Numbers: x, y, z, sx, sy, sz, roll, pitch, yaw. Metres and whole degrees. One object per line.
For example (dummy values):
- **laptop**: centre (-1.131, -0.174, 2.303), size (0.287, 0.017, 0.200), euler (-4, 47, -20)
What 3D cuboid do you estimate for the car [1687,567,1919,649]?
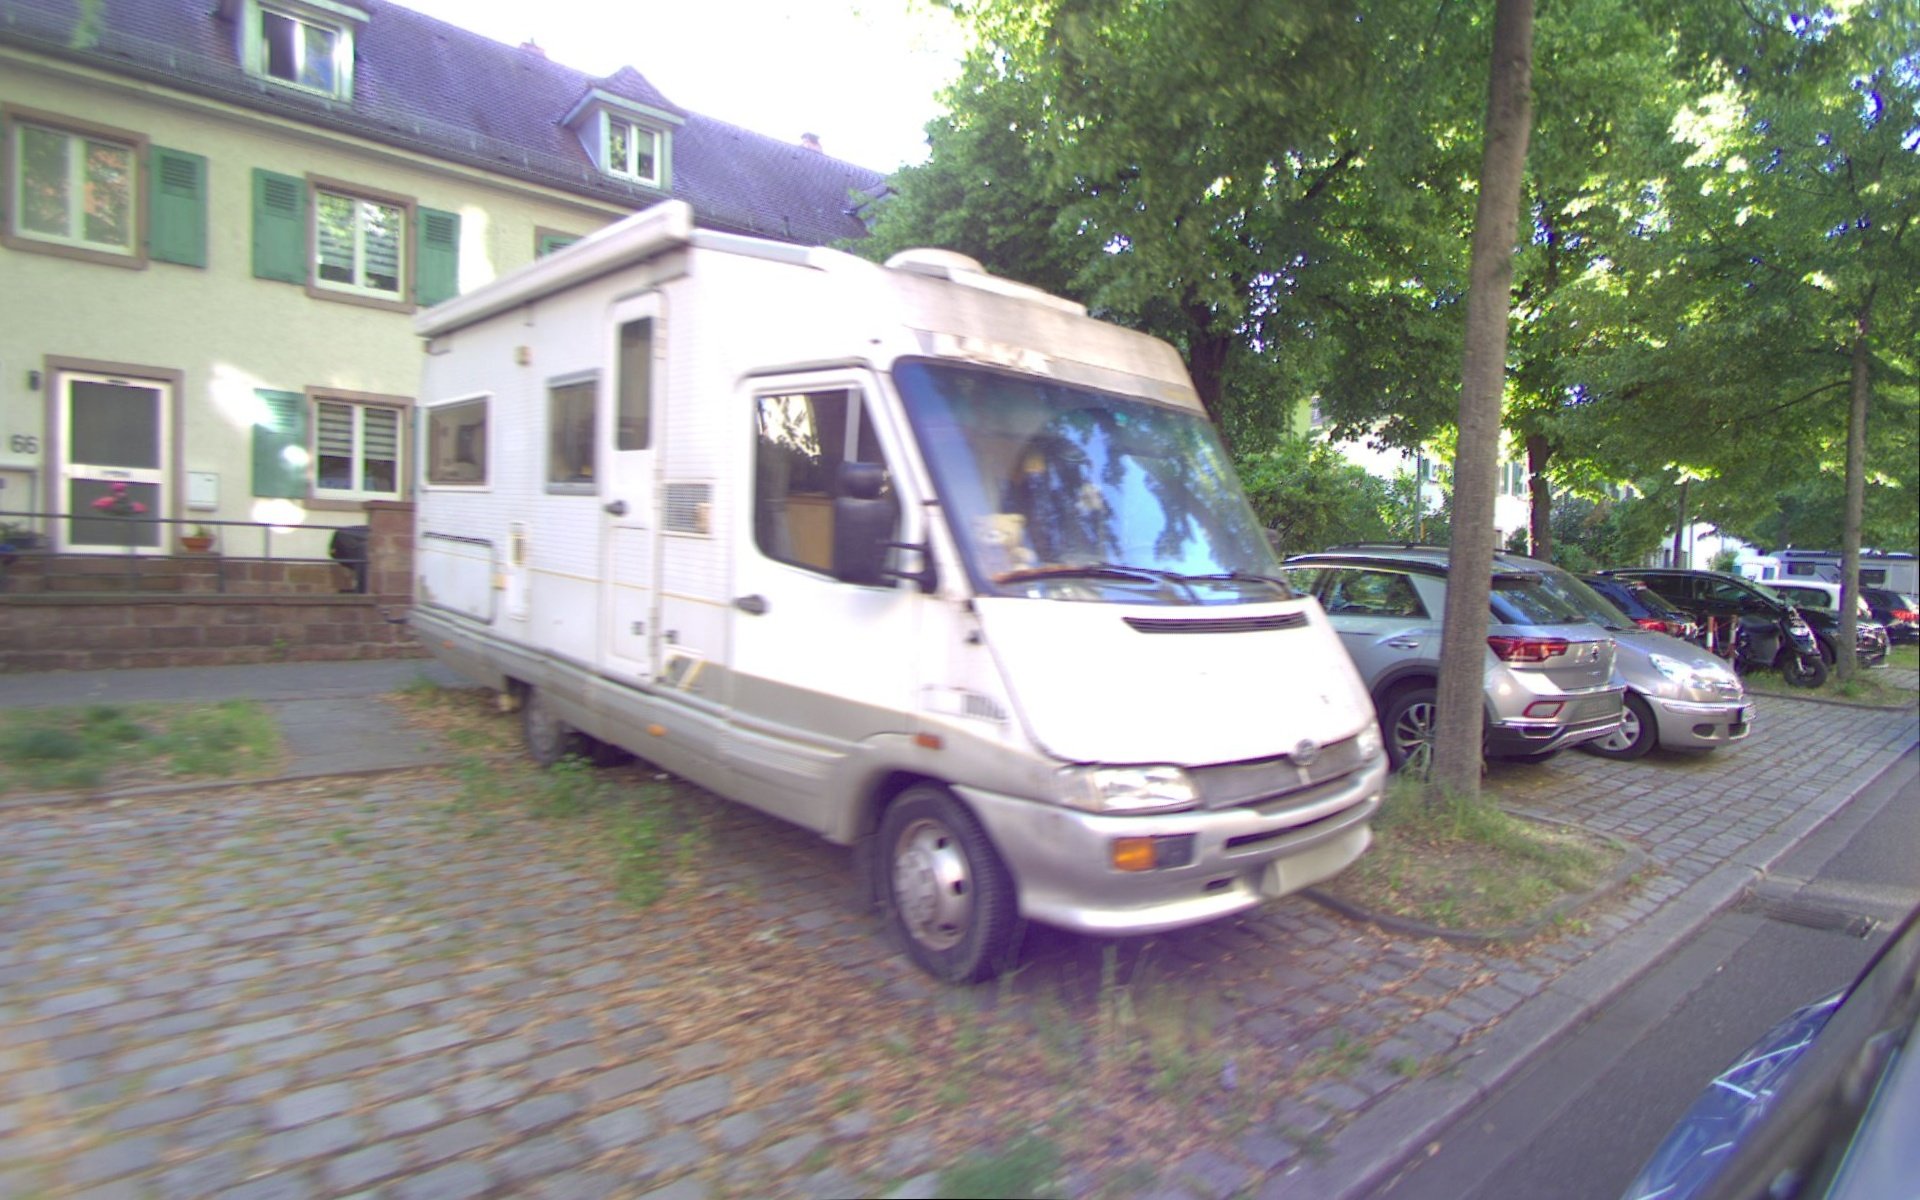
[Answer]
- **car**: centre (19.411, 0.125, 22.893), size (1.721, 1.495, 4.471), euler (0, 4, -39)

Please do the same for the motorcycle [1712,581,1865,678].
- **motorcycle**: centre (11.417, 0.365, 14.031), size (0.725, 1.212, 1.774), euler (1, 2, 5)

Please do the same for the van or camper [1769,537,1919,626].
- **van or camper**: centre (32.455, -0.643, 34.495), size (2.385, 2.939, 7.264), euler (-2, 3, -40)

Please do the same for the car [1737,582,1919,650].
- **car**: centre (22.825, 0.354, 26.227), size (1.967, 1.537, 3.992), euler (-2, 3, -43)

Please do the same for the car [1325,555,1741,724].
- **car**: centre (6.553, 0.310, 11.858), size (1.759, 1.490, 3.879), euler (-1, 5, -45)

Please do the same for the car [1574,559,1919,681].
- **car**: centre (13.076, 0.201, 16.958), size (1.895, 1.627, 4.342), euler (-1, 4, -41)

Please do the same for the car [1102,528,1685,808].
- **car**: centre (3.295, 0.297, 8.397), size (1.868, 1.617, 3.976), euler (-1, 5, -37)

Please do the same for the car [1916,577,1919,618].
- **car**: centre (45.164, -0.025, 44.757), size (1.965, 1.836, 3.996), euler (0, 2, -40)

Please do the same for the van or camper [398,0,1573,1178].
- **van or camper**: centre (-0.913, -0.370, 5.753), size (2.423, 3.115, 7.087), euler (0, 2, -42)

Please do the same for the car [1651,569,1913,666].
- **car**: centre (15.058, 0.246, 18.666), size (1.664, 1.493, 3.456), euler (0, 4, -40)

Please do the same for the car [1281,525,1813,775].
- **car**: centre (5.283, 0.251, 9.558), size (1.699, 1.765, 3.925), euler (-1, 5, -40)
